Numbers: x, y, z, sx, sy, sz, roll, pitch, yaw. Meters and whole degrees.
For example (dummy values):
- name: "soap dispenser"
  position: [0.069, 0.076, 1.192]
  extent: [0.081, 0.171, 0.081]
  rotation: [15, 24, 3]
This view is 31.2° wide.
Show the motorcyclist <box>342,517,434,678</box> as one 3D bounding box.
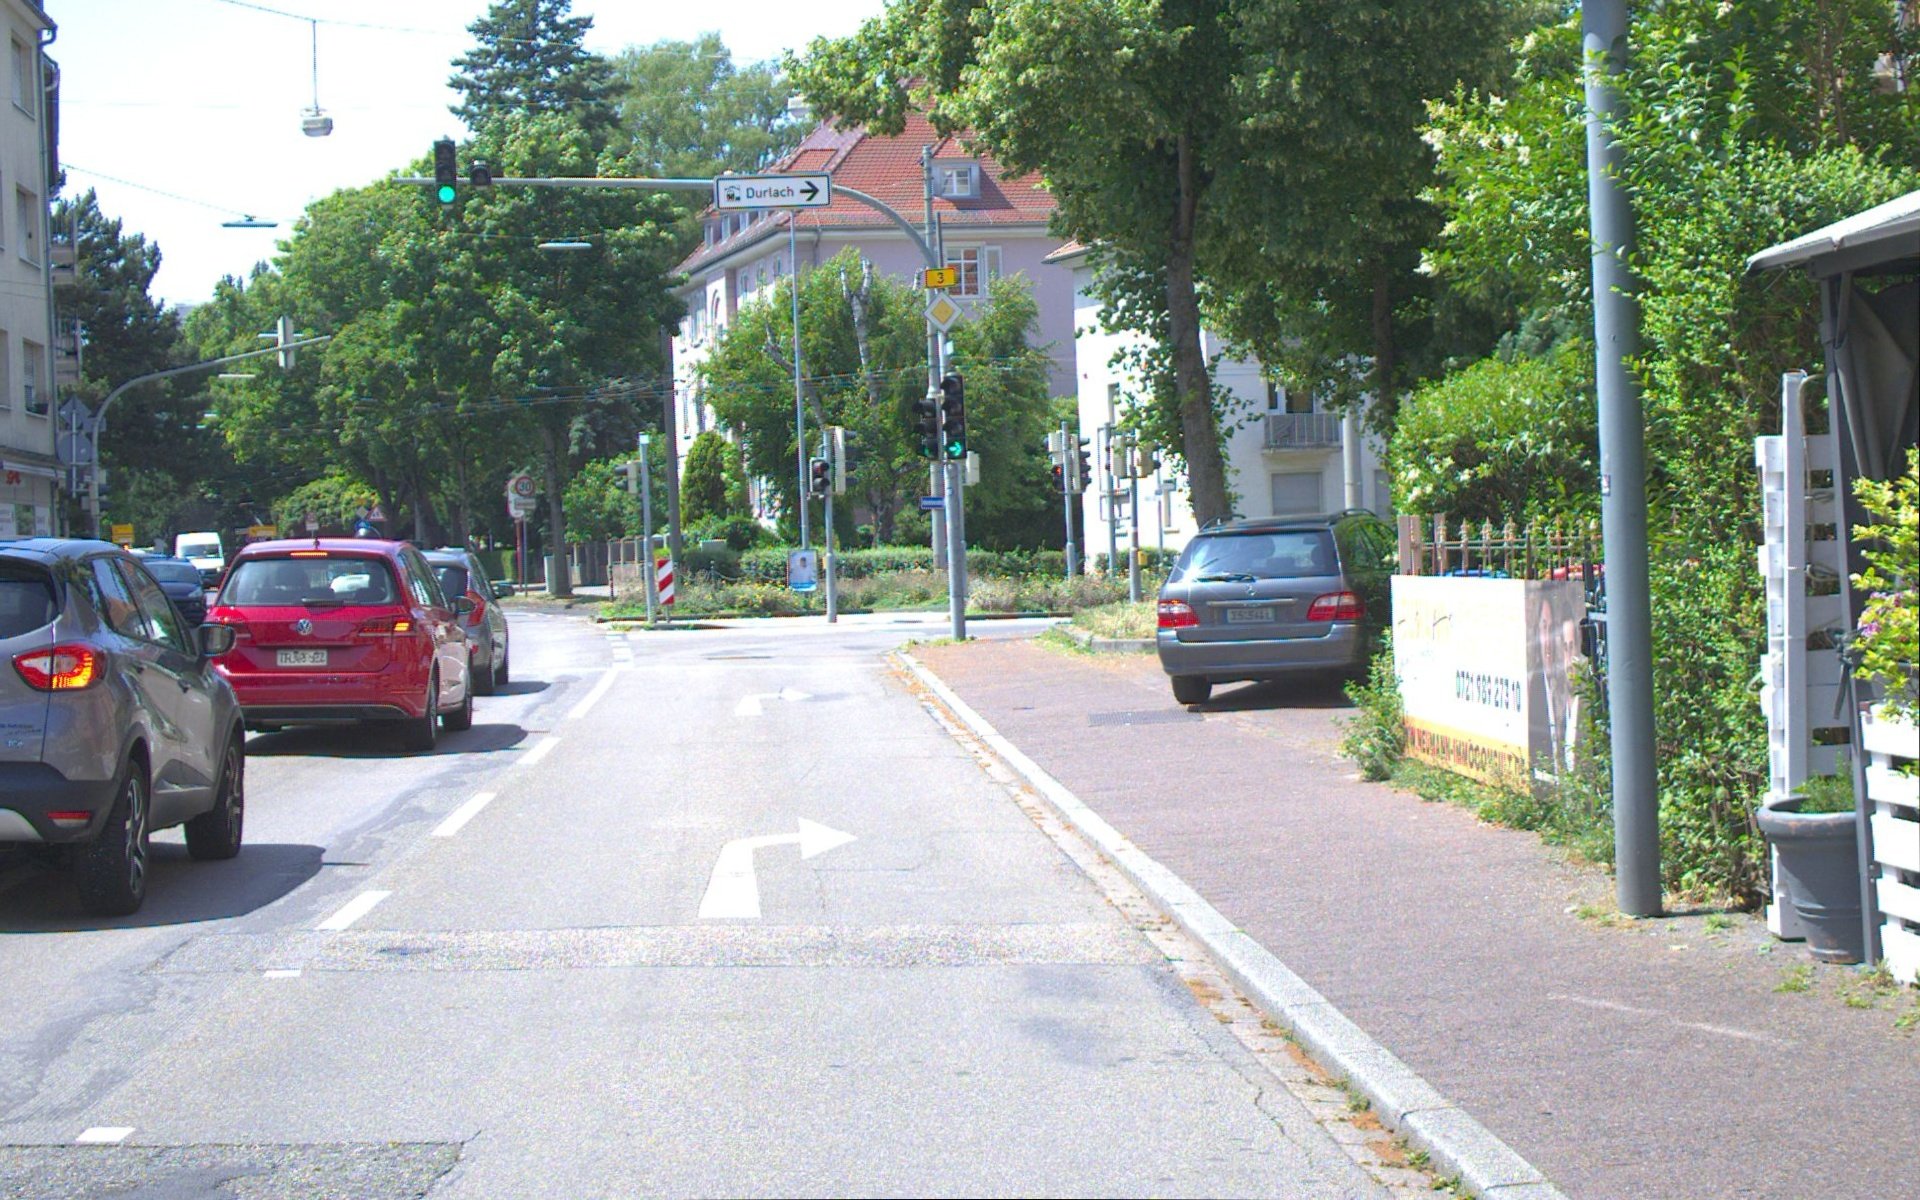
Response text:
- name: "motorcyclist"
  position: [-5.250, -0.035, 31.594]
  extent: [0.711, 1.440, 1.019]
  rotation: [-1, 1, -5]

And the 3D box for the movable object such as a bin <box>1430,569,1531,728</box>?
- name: "movable object such as a bin"
  position: [3.601, 0.329, 23.832]
  extent: [0.649, 1.068, 0.637]
  rotation: [-1, 1, 7]

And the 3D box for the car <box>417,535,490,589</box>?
- name: "car"
  position: [-17.563, -1.334, 119.125]
  extent: [1.993, 1.801, 4.001]
  rotation: [-1, 1, -16]

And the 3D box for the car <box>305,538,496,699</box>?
- name: "car"
  position: [-5.850, 0.157, 36.290]
  extent: [1.798, 1.552, 4.038]
  rotation: [-2, 1, -7]

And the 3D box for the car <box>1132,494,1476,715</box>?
- name: "car"
  position: [2.999, -0.031, 28.883]
  extent: [1.836, 1.543, 5.153]
  rotation: [-2, 2, 17]

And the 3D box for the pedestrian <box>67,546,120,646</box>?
- name: "pedestrian"
  position: [-17.029, -0.084, 67.585]
  extent: [0.935, 1.925, 0.977]
  rotation: [-2, 1, -15]

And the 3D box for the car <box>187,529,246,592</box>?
- name: "car"
  position: [-32.201, -1.707, 148.742]
  extent: [2.215, 2.492, 7.556]
  rotation: [-5, 2, -13]

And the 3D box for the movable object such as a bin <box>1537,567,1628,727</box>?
- name: "movable object such as a bin"
  position: [4.294, 0.319, 23.740]
  extent: [0.552, 1.068, 0.705]
  rotation: [-1, 1, 7]

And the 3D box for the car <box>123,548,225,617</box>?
- name: "car"
  position: [-17.980, -0.379, 78.543]
  extent: [1.993, 1.514, 4.001]
  rotation: [-1, 0, -17]

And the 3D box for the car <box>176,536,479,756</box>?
- name: "car"
  position: [-4.822, 0.299, 26.688]
  extent: [1.798, 1.552, 4.038]
  rotation: [-1, 1, -3]

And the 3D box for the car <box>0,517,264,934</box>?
- name: "car"
  position: [-4.340, 0.462, 15.405]
  extent: [1.753, 1.626, 4.001]
  rotation: [-1, 1, -2]
